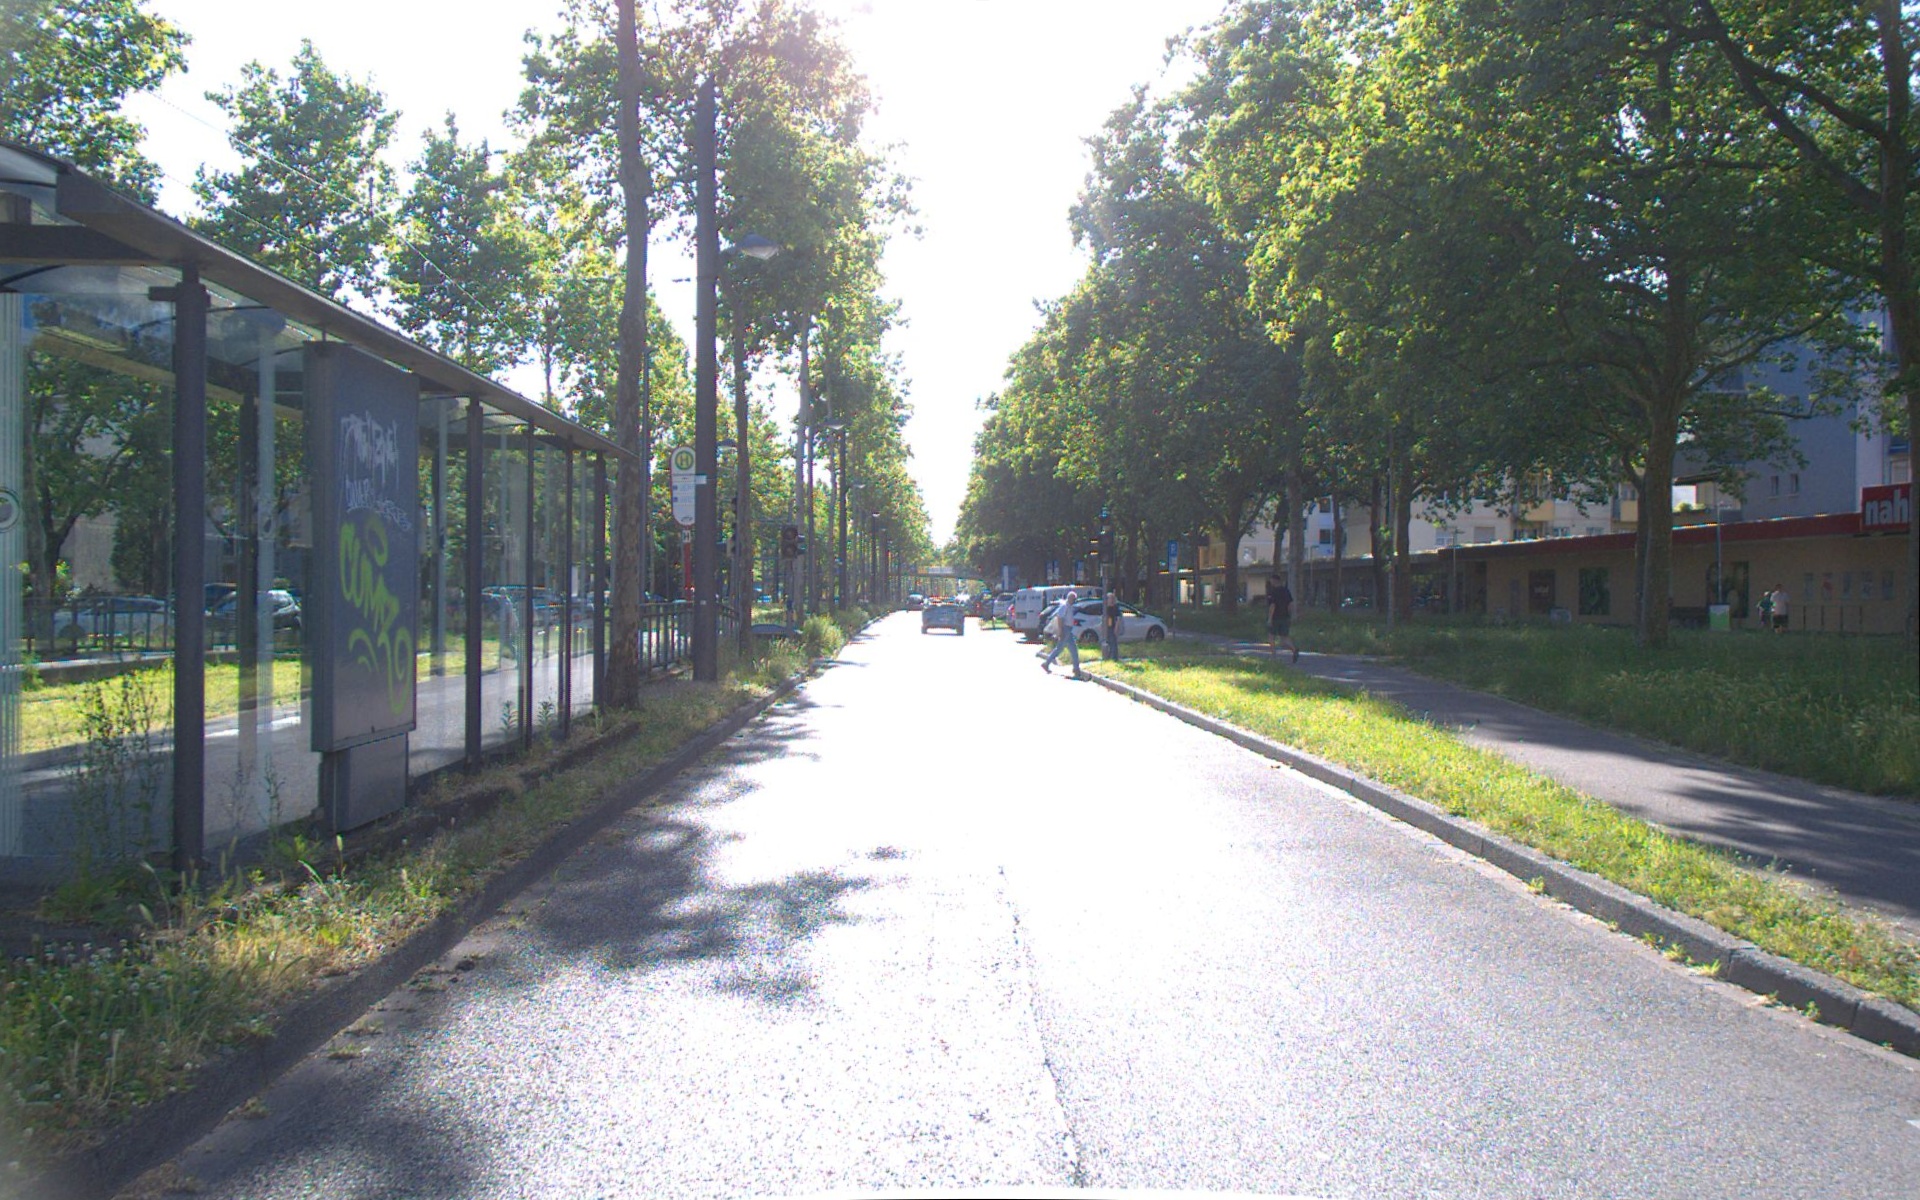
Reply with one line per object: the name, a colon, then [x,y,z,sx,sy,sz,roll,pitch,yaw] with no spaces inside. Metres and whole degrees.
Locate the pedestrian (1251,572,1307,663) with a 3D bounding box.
pedestrian: [6.879,0.369,35.705,0.920,1.918,0.788,1,0,-42]

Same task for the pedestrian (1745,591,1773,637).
pedestrian: [25.670,0.442,53.136,0.521,1.455,0.715,0,1,-7]

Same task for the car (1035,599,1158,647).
car: [4.682,0.759,56.617,3.949,1.454,1.779,-2,1,-33]

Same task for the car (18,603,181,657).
car: [-24.848,0.833,47.831,1.806,1.460,3.807,0,0,39]

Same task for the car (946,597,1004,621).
car: [1.129,0.653,121.536,4.281,1.747,1.612,1,0,-41]

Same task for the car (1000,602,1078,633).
car: [3.789,0.843,78.945,1.561,1.397,3.911,-1,0,45]

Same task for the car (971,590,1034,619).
car: [2.744,0.296,106.889,4.050,1.842,1.626,-1,0,-42]

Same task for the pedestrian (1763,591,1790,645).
pedestrian: [26.371,0.583,53.419,0.485,1.730,0.715,0,1,-7]

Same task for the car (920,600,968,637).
car: [-0.692,0.767,69.284,1.883,1.436,3.998,1,0,-2]

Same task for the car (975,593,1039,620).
car: [2.761,0.386,96.427,1.624,1.496,3.760,-1,0,45]

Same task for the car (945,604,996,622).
car: [0.900,1.106,141.590,1.826,1.469,4.462,-1,0,45]

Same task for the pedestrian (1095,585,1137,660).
pedestrian: [3.634,0.521,38.480,0.704,1.736,0.646,-1,-1,-36]

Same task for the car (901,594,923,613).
car: [-4.155,0.301,143.429,1.812,1.562,3.865,1,0,-1]

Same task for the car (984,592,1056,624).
car: [3.409,0.452,93.322,3.995,1.735,1.733,-1,0,-43]

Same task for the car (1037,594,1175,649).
car: [4.478,0.648,50.476,3.949,1.495,1.741,-2,1,-33]

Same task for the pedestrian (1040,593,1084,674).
pedestrian: [2.240,0.714,36.236,0.824,1.752,0.831,0,0,13]

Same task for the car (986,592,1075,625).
car: [3.193,0.361,74.643,1.692,1.437,4.155,-1,0,45]

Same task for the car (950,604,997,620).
car: [1.265,1.088,151.529,1.826,1.449,4.299,-1,0,45]

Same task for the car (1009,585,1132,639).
car: [4.078,0.415,60.732,4.630,1.885,1.803,-1,0,-42]

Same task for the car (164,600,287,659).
car: [-20.518,0.782,46.367,1.678,1.573,3.933,0,0,1]
